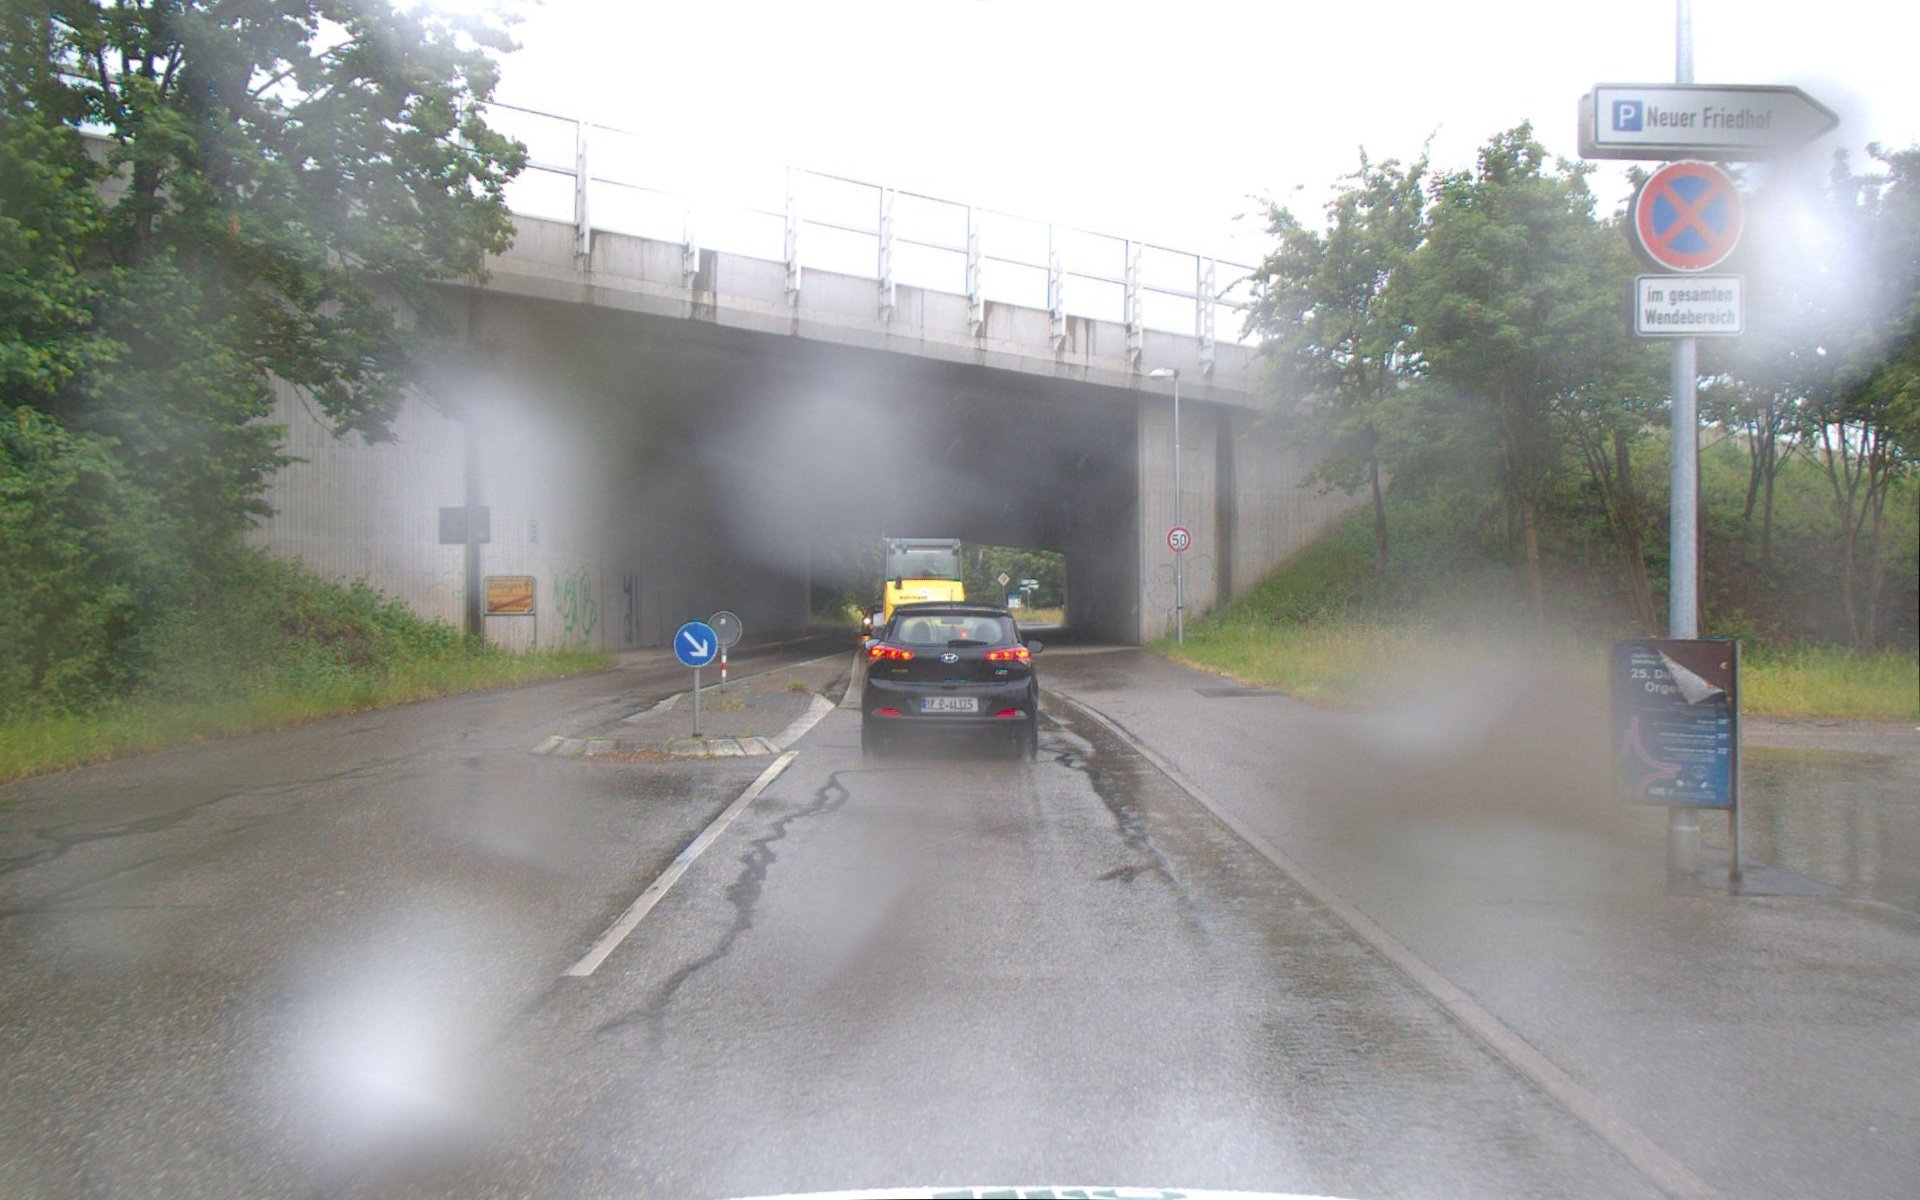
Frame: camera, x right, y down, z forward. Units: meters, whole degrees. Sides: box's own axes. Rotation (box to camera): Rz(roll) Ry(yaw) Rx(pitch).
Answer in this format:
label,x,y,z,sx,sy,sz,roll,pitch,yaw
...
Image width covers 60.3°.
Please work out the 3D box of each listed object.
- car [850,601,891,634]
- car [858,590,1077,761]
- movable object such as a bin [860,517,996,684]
label,x,y,z,sx,sy,sz,roll,pitch,yaw
car,-4.256,0.825,79.099,1.655,1.513,4.073,0,0,1
car,0.009,0.697,17.030,1.953,1.513,3.998,1,0,-2
movable object such as a bin,-0.639,0.024,30.783,2.200,2.716,6.624,1,0,-2
